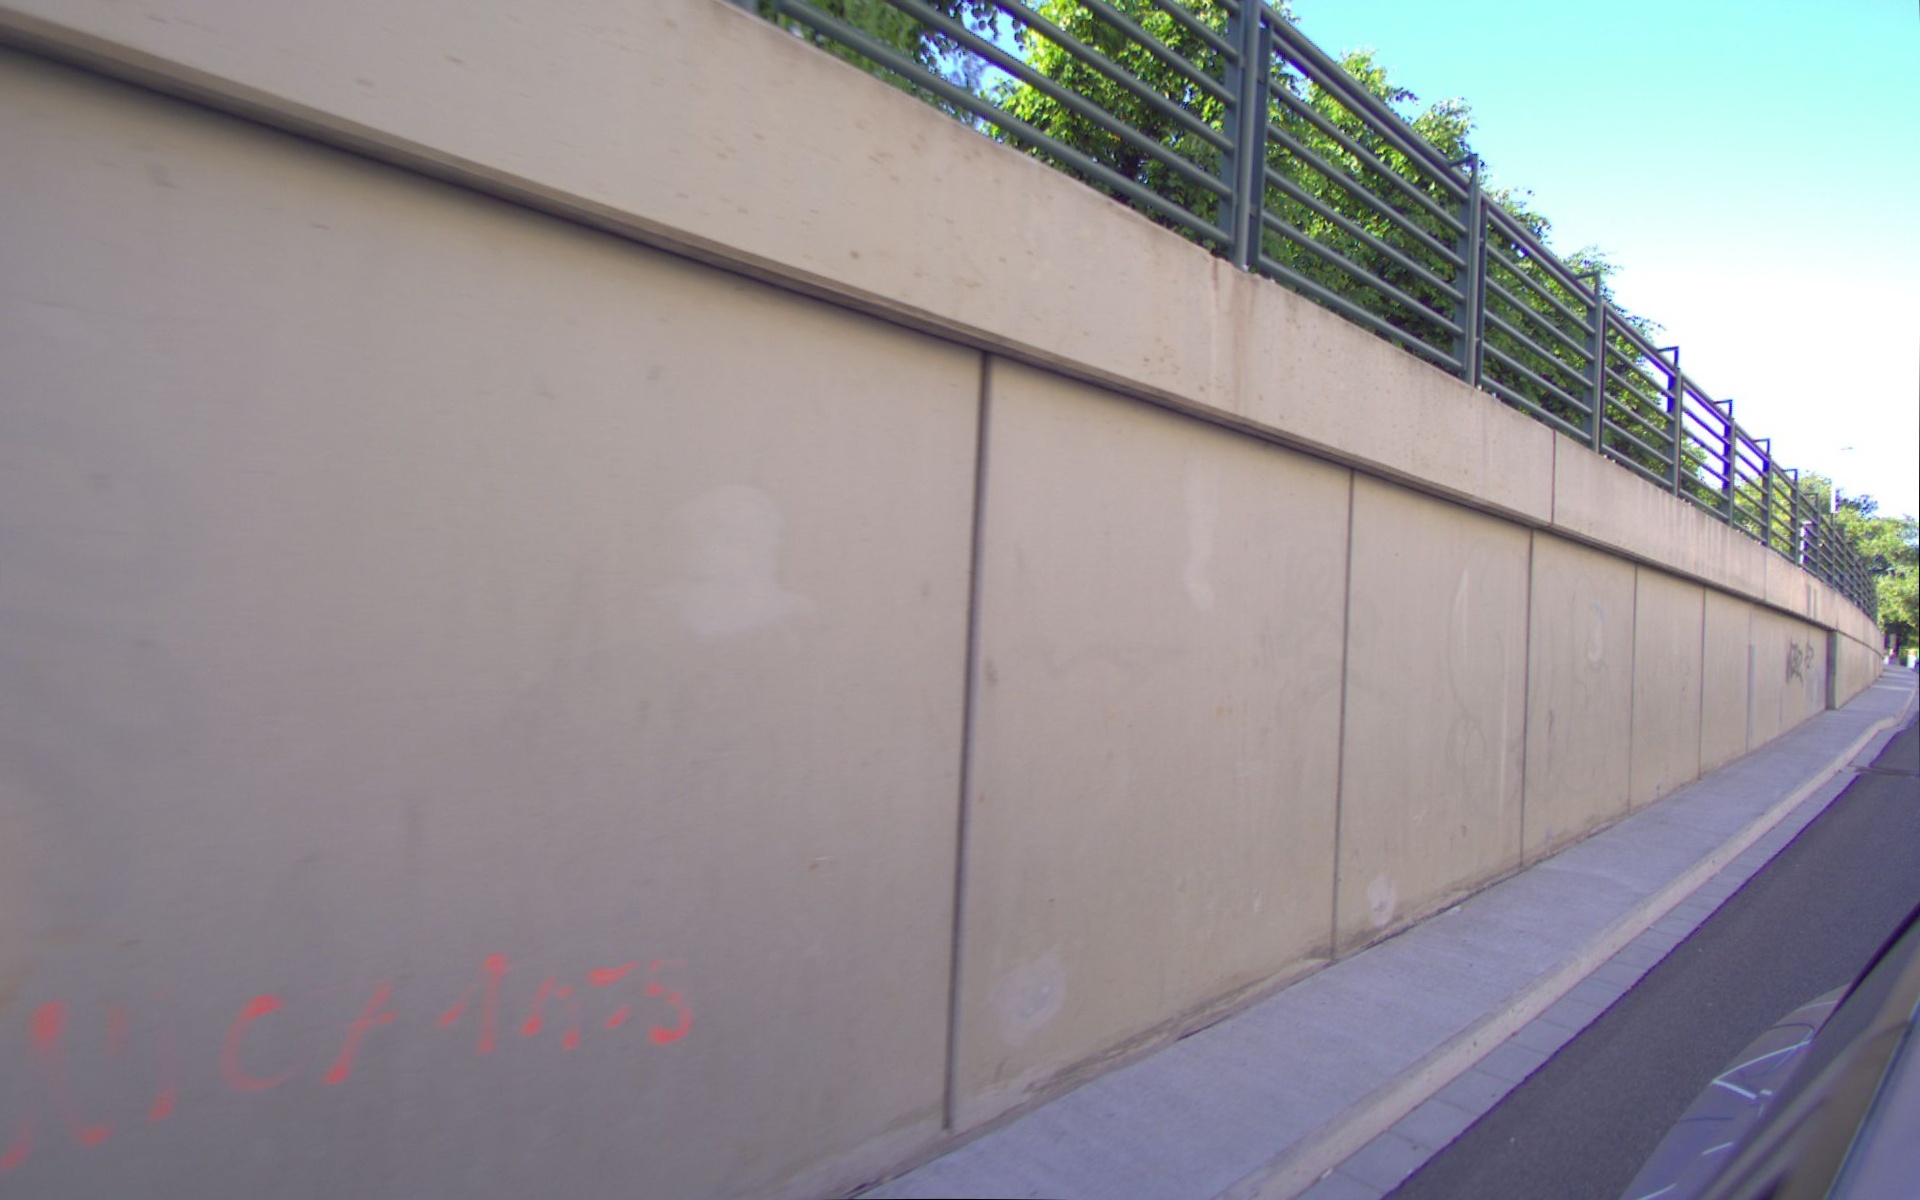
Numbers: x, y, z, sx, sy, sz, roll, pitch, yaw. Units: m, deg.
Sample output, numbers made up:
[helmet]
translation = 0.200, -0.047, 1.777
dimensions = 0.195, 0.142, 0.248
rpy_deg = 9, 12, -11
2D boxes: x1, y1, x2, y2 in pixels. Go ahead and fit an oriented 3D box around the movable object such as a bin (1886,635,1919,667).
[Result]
[movable object such as a bin]
translation = 66.737, 3.561, 70.187
dimensions = 3.211, 2.103, 2.090
rpy_deg = 3, -2, 26
